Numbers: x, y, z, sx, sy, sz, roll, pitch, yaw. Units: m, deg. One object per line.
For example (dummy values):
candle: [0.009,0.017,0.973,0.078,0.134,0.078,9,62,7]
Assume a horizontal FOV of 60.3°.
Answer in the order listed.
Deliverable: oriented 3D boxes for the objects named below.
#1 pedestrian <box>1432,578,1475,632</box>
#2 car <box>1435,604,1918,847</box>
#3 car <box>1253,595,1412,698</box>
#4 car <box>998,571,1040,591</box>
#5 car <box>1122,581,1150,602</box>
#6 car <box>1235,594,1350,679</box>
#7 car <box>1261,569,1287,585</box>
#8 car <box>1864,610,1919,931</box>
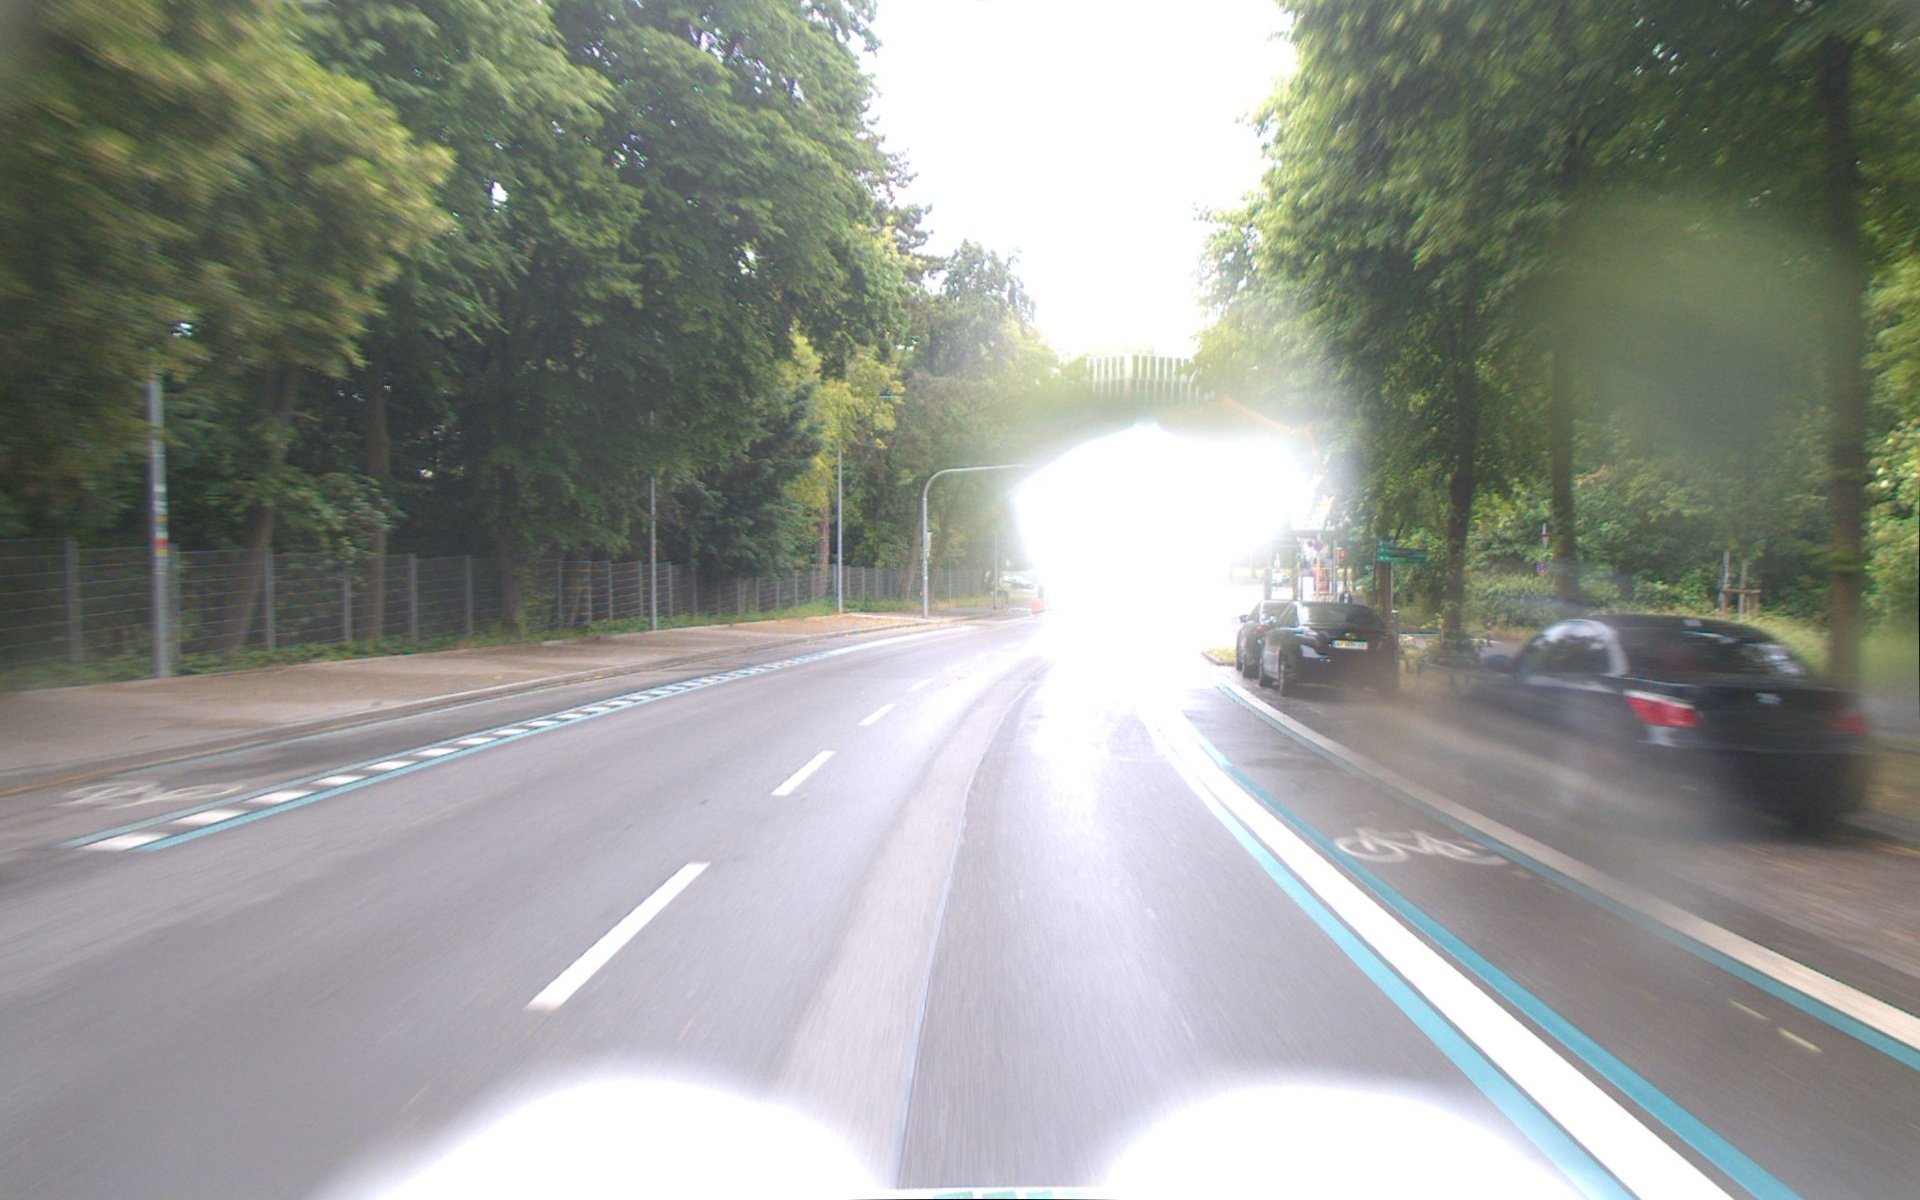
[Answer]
pedestrian: [16.563,0.161,55.551,0.873,1.763,1.140,1,0,-18]
car: [5.213,0.795,12.861,1.744,1.432,4.846,2,0,2]
car: [5.904,0.675,26.726,1.664,1.445,4.765,3,0,3]
car: [5.989,-1.912,168.212,3.906,1.465,1.609,9,3,12]
car: [13.600,-0.704,127.705,1.804,1.482,4.504,1,2,10]
car: [6.467,0.654,32.627,1.720,1.465,4.861,2,0,6]
car: [36.225,-2.634,190.555,1.954,1.715,3.997,1,1,26]
car: [5.088,0.811,5.825,1.648,1.453,4.320,2,0,4]
